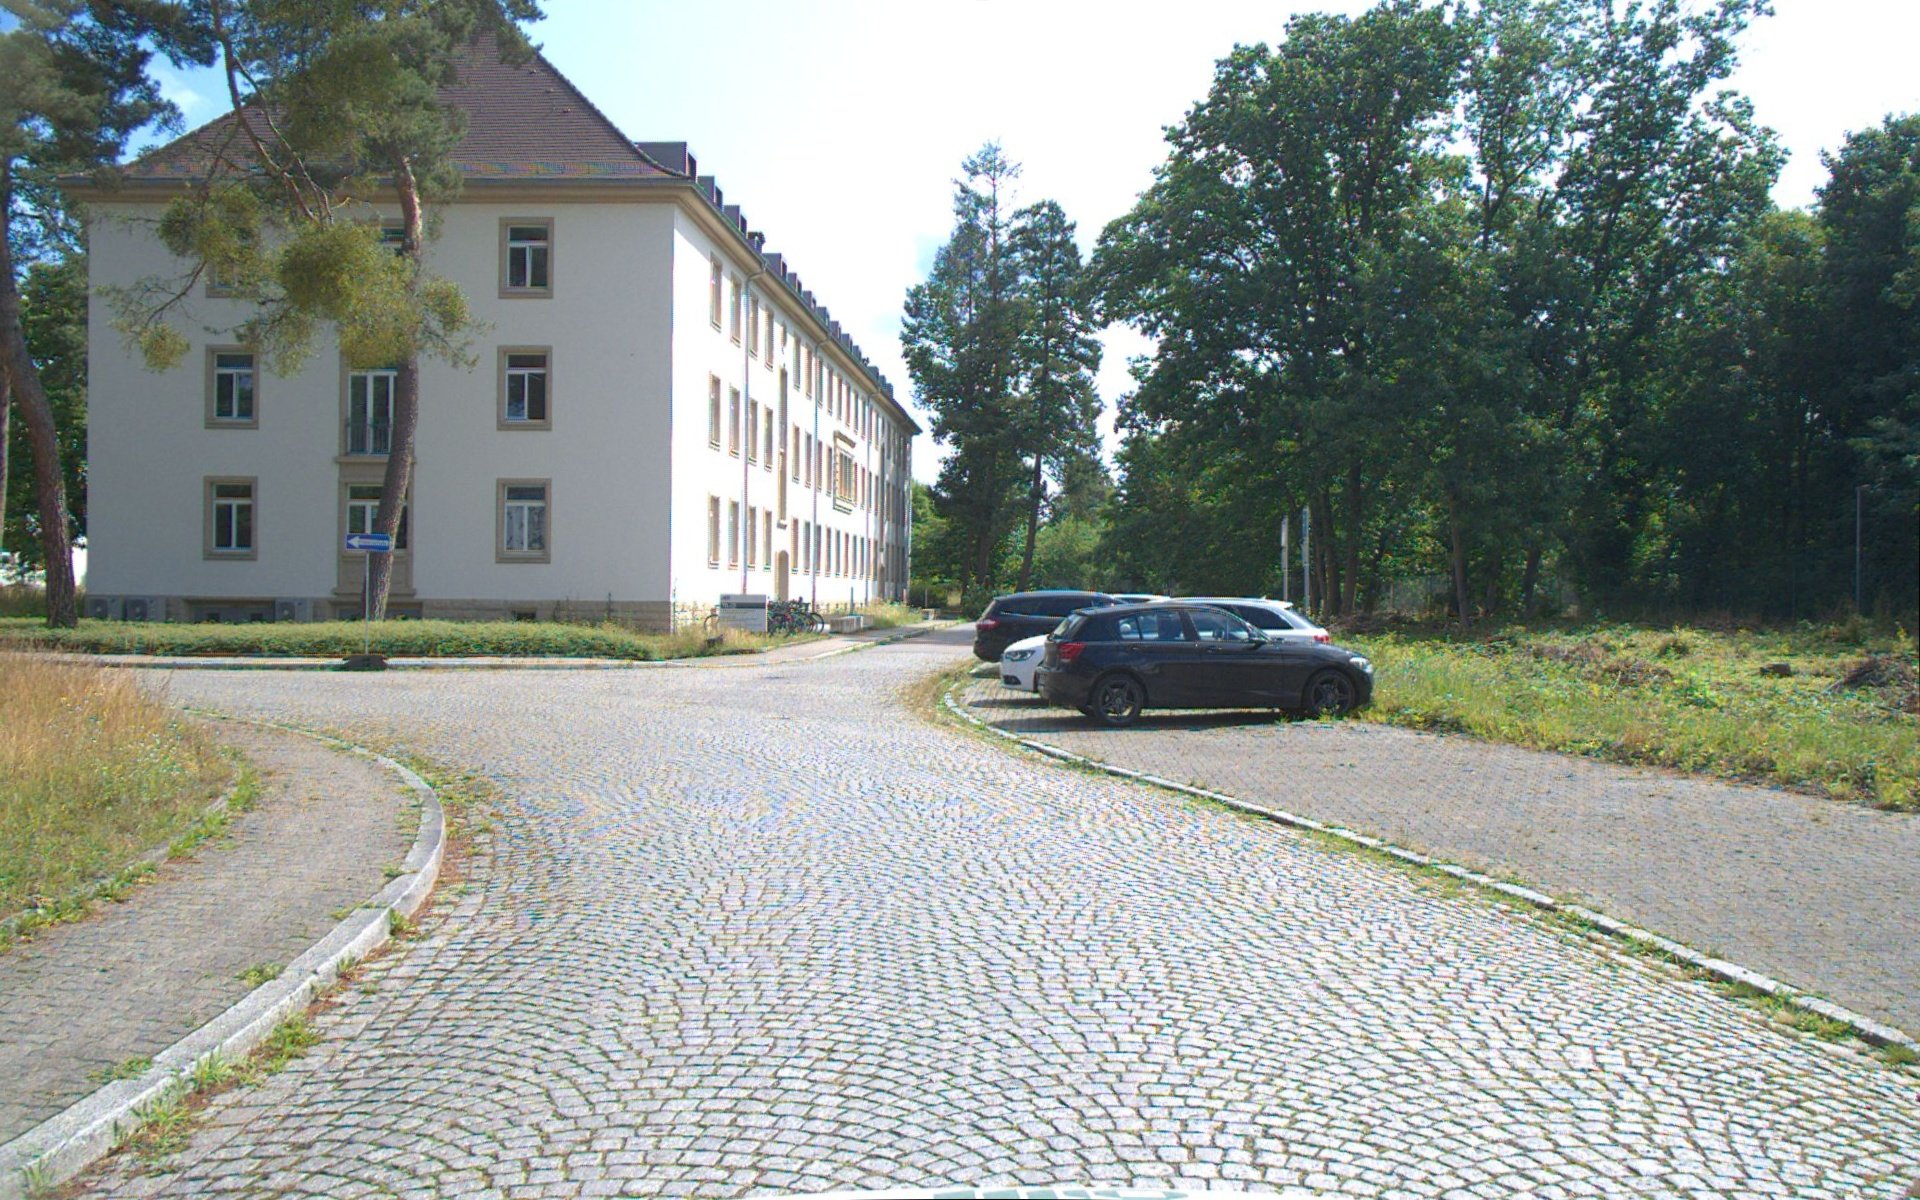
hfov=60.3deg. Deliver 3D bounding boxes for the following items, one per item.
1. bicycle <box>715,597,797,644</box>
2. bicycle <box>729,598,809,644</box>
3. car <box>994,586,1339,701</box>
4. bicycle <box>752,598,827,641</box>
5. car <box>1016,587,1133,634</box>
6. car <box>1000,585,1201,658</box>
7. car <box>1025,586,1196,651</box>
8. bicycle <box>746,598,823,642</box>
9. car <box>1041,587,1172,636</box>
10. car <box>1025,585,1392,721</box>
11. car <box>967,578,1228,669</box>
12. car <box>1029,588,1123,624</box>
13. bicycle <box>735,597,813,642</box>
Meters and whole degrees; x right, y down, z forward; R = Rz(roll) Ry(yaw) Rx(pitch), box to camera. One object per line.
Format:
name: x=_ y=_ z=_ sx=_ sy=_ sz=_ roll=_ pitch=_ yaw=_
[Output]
bicycle: x=-5.703 y=0.564 z=46.217 sx=2.174 sy=1.282 sz=0.623 roll=0 pitch=0 yaw=10
bicycle: x=-5.427 y=0.589 z=46.987 sx=2.175 sy=1.282 sz=0.623 roll=0 pitch=0 yaw=6
car: x=2.904 y=0.597 z=23.954 sx=4.761 sy=1.498 sz=1.875 roll=-1 pitch=1 yaw=2
bicycle: x=-5.117 y=0.585 z=49.747 sx=2.175 sy=1.282 sz=0.623 roll=0 pitch=0 yaw=6
car: x=4.116 y=0.383 z=59.440 sx=4.098 sy=1.570 sz=1.821 roll=-1 pitch=-1 yaw=5
car: x=3.071 y=0.473 z=36.636 sx=4.307 sy=1.510 sz=1.766 roll=-1 pitch=-1 yaw=2
car: x=3.753 y=0.461 z=41.348 sx=4.118 sy=1.510 sz=1.821 roll=-1 pitch=-1 yaw=5
bicycle: x=-5.159 y=0.587 z=48.739 sx=2.175 sy=1.282 sz=0.623 roll=0 pitch=0 yaw=6
car: x=4.780 y=0.384 z=53.989 sx=4.176 sy=1.510 sz=1.821 roll=-1 pitch=-1 yaw=5
car: x=3.042 y=0.620 z=20.774 sx=4.240 sy=1.526 sz=1.828 roll=-1 pitch=1 yaw=-5
car: x=2.554 y=0.443 z=31.341 sx=4.752 sy=1.580 sz=1.880 roll=-1 pitch=-1 yaw=2
car: x=5.174 y=0.280 z=73.524 sx=4.098 sy=1.510 sz=1.821 roll=-1 pitch=-1 yaw=5
bicycle: x=-5.394 y=0.561 z=47.943 sx=2.174 sy=1.282 sz=0.623 roll=0 pitch=0 yaw=10
